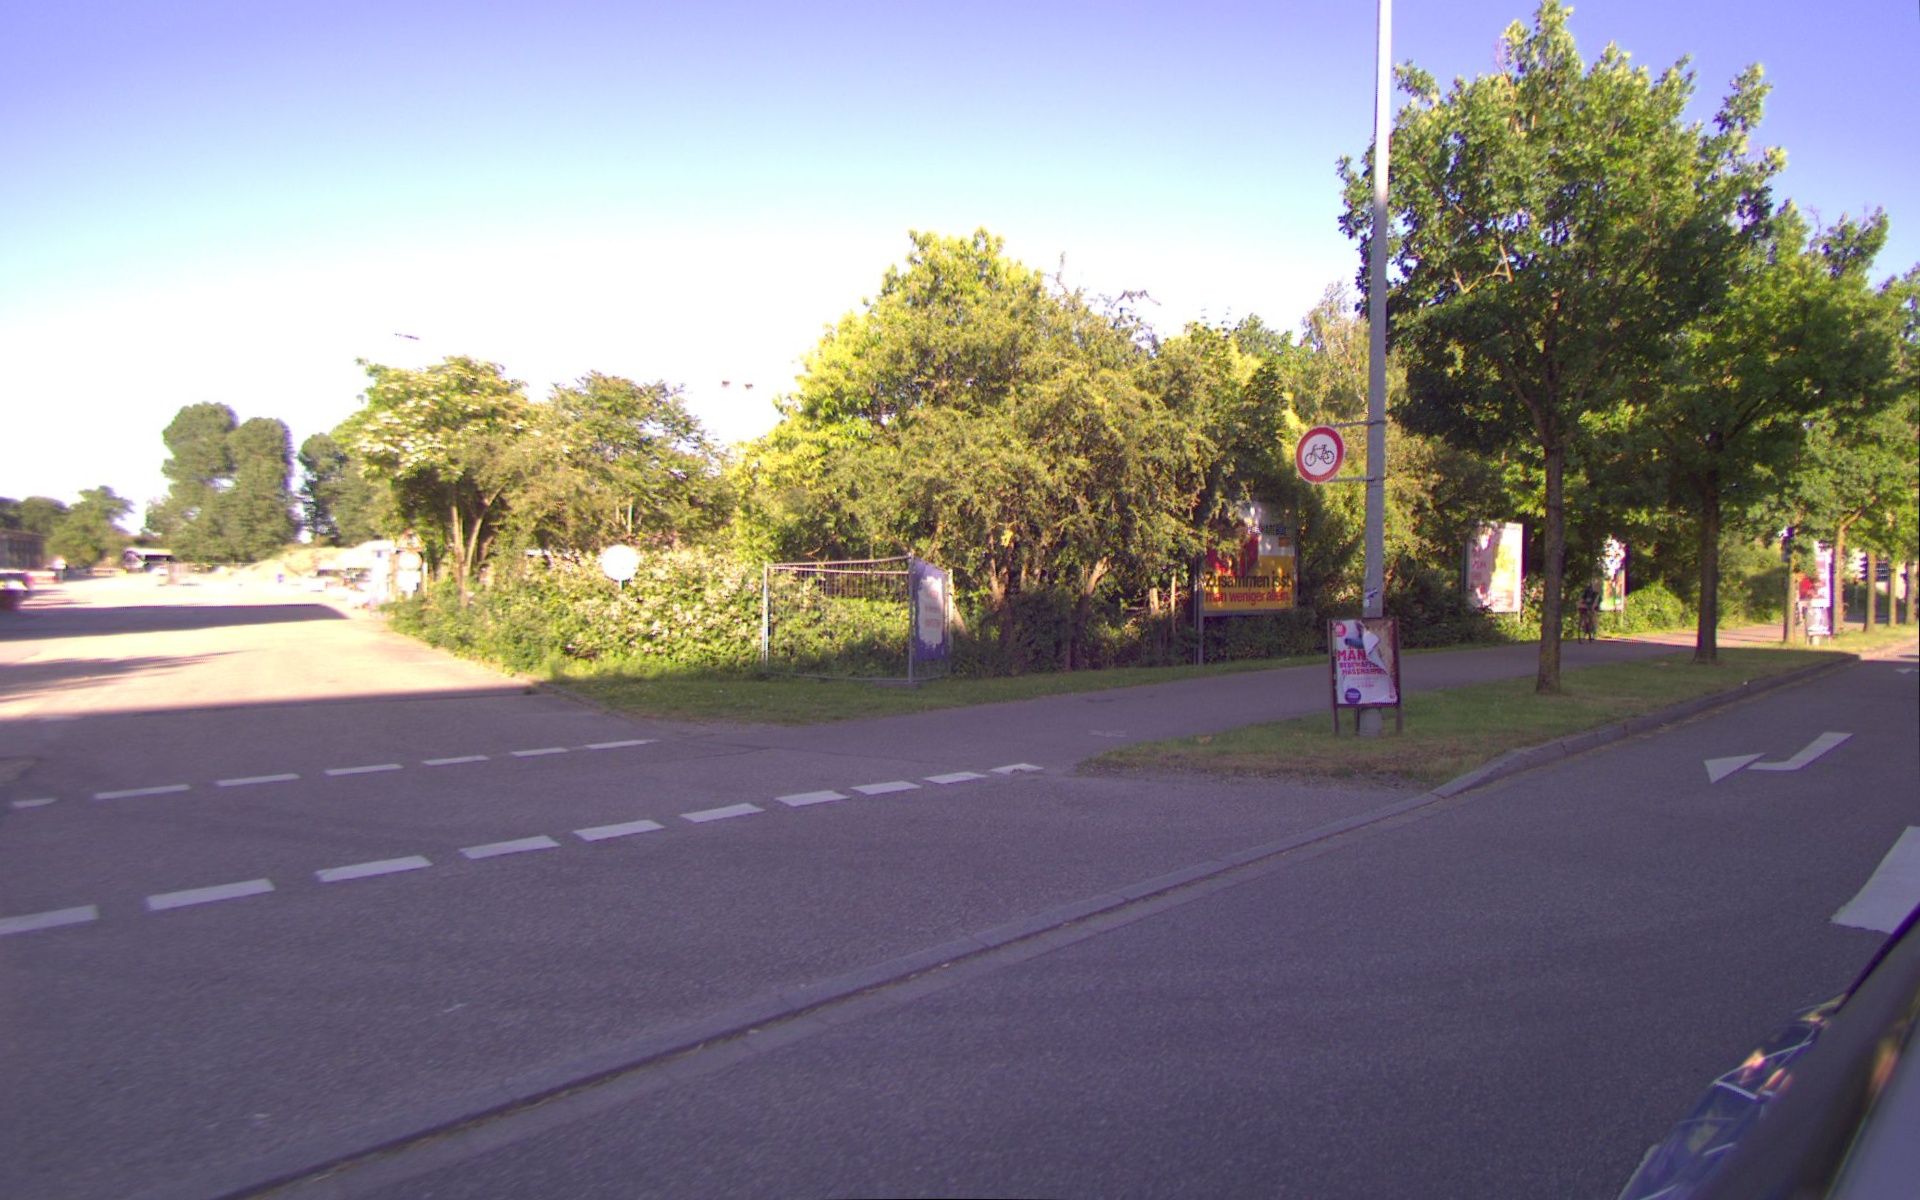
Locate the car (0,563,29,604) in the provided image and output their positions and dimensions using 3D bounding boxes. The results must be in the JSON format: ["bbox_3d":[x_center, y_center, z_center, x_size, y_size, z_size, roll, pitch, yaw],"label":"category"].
[{"bbox_3d":[-43.847,-0.755,45.419,2.949,1.814,1.368,0,1,-41],"label":"car"}]

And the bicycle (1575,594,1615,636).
[{"bbox_3d":[17.262,0.395,27.497,0.516,1.086,1.905,1,1,44],"label":"bicycle"}]

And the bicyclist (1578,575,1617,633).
[{"bbox_3d":[17.358,0.101,27.547,0.685,1.541,1.019,1,1,44],"label":"bicyclist"}]

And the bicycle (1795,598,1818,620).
[{"bbox_3d":[39.497,0.400,47.217,2.012,1.004,0.572,0,1,-43],"label":"bicycle"}]

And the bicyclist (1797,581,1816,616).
[{"bbox_3d":[39.408,-0.080,47.103,0.851,1.630,0.565,0,1,-43],"label":"bicyclist"}]
